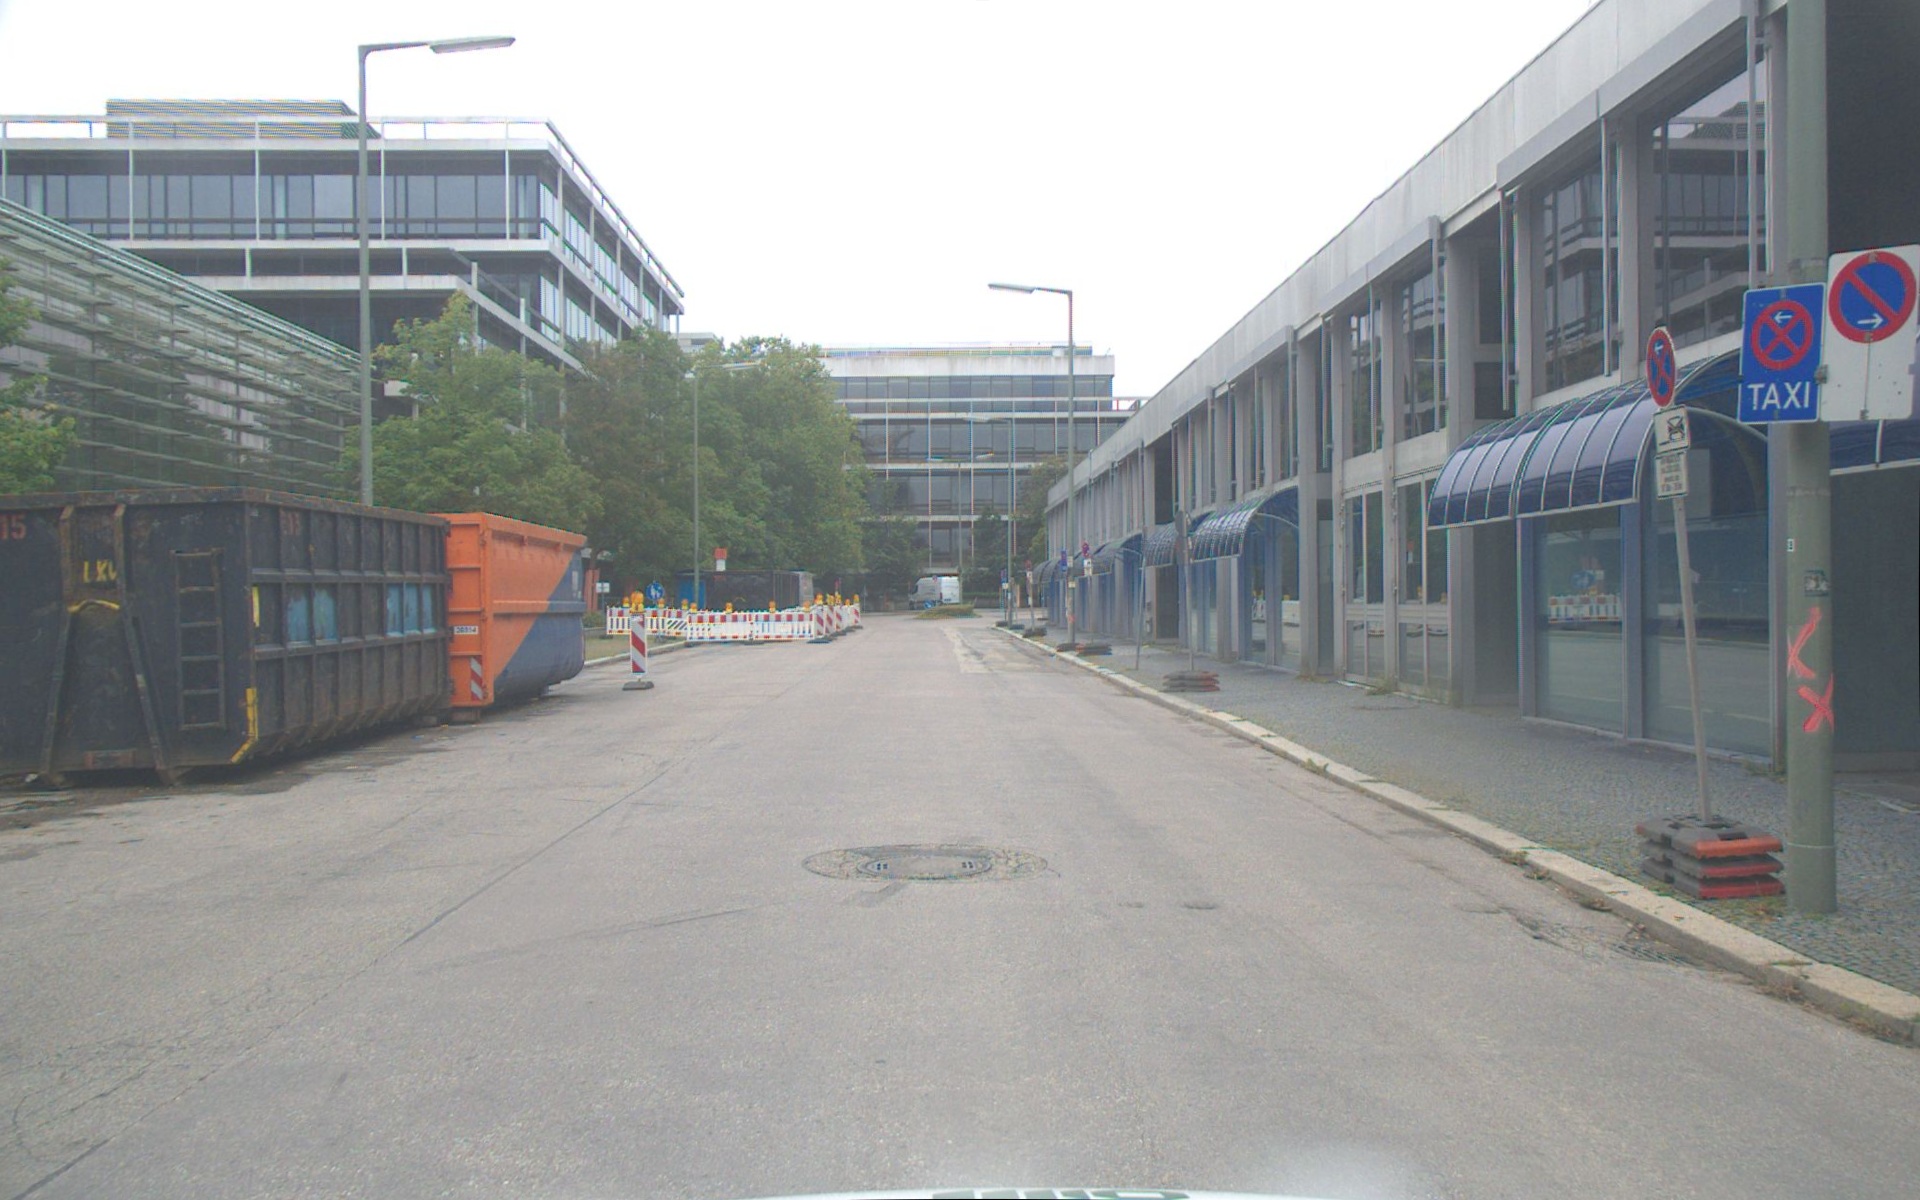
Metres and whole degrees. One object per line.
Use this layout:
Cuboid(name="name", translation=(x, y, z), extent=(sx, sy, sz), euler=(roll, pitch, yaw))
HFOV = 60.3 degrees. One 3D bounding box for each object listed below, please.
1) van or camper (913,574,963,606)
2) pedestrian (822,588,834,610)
Cuboid(name="van or camper", translation=(-1.817, -0.778, 134.733), extent=(2.060, 2.535, 5.024), euler=(-1, 0, -26))
Cuboid(name="pedestrian", translation=(-10.644, -0.075, 133.414), extent=(0.731, 1.706, 0.678), euler=(-1, 0, -21))
